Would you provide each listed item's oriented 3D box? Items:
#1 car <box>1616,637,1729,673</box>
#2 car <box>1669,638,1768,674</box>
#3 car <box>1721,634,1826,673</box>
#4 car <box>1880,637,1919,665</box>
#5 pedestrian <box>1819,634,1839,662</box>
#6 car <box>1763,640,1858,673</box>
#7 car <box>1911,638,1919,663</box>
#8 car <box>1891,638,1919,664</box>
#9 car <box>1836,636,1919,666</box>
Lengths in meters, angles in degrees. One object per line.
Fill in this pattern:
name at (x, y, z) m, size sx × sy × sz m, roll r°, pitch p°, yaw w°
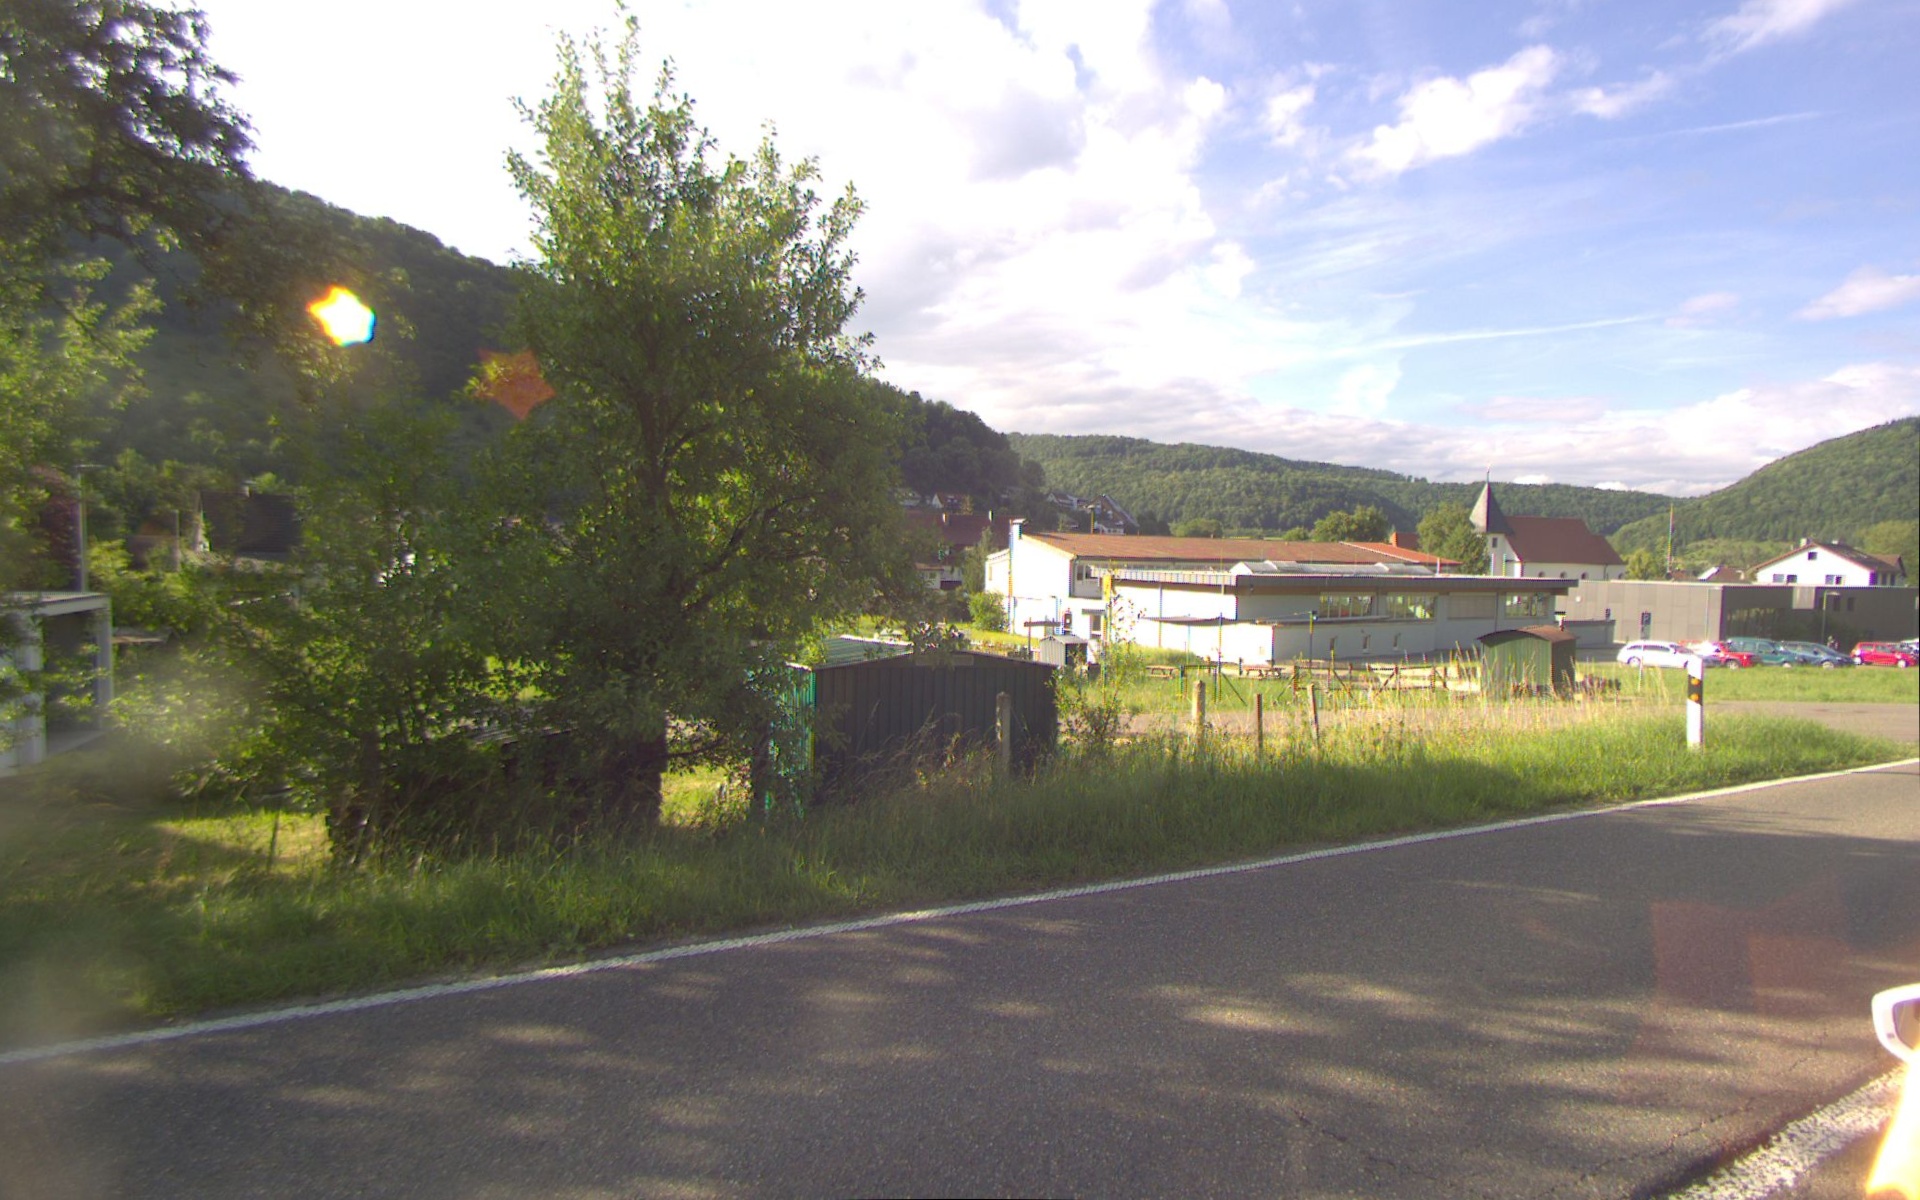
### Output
car at (39.360, 2.999, 55.612) m, size 1.978 × 1.733 × 4.705 m, roll 2°, pitch 0°, yaw -32°
car at (42.370, 3.095, 56.174) m, size 1.978 × 1.733 × 3.965 m, roll 2°, pitch 0°, yaw -32°
car at (47.523, 3.107, 58.779) m, size 1.978 × 2.034 × 4.382 m, roll 2°, pitch 0°, yaw -32°
car at (64.603, 3.466, 67.322) m, size 1.978 × 1.733 × 3.965 m, roll 2°, pitch 0°, yaw -32°
pedestrian at (64.633, 3.567, 74.720) m, size 0.962 × 2.040 × 0.821 m, roll 2°, pitch 0°, yaw -30°
car at (51.124, 3.390, 60.438) m, size 1.978 × 1.733 × 3.965 m, roll 2°, pitch 0°, yaw -32°
car at (70.320, 3.664, 71.148) m, size 1.978 × 1.733 × 3.965 m, roll 2°, pitch 0°, yaw -32°
car at (67.480, 3.567, 69.582) m, size 1.978 × 1.733 × 3.965 m, roll 2°, pitch 0°, yaw -32°
car at (60.291, 3.324, 65.773) m, size 1.978 × 1.733 × 3.965 m, roll 2°, pitch 0°, yaw -32°
